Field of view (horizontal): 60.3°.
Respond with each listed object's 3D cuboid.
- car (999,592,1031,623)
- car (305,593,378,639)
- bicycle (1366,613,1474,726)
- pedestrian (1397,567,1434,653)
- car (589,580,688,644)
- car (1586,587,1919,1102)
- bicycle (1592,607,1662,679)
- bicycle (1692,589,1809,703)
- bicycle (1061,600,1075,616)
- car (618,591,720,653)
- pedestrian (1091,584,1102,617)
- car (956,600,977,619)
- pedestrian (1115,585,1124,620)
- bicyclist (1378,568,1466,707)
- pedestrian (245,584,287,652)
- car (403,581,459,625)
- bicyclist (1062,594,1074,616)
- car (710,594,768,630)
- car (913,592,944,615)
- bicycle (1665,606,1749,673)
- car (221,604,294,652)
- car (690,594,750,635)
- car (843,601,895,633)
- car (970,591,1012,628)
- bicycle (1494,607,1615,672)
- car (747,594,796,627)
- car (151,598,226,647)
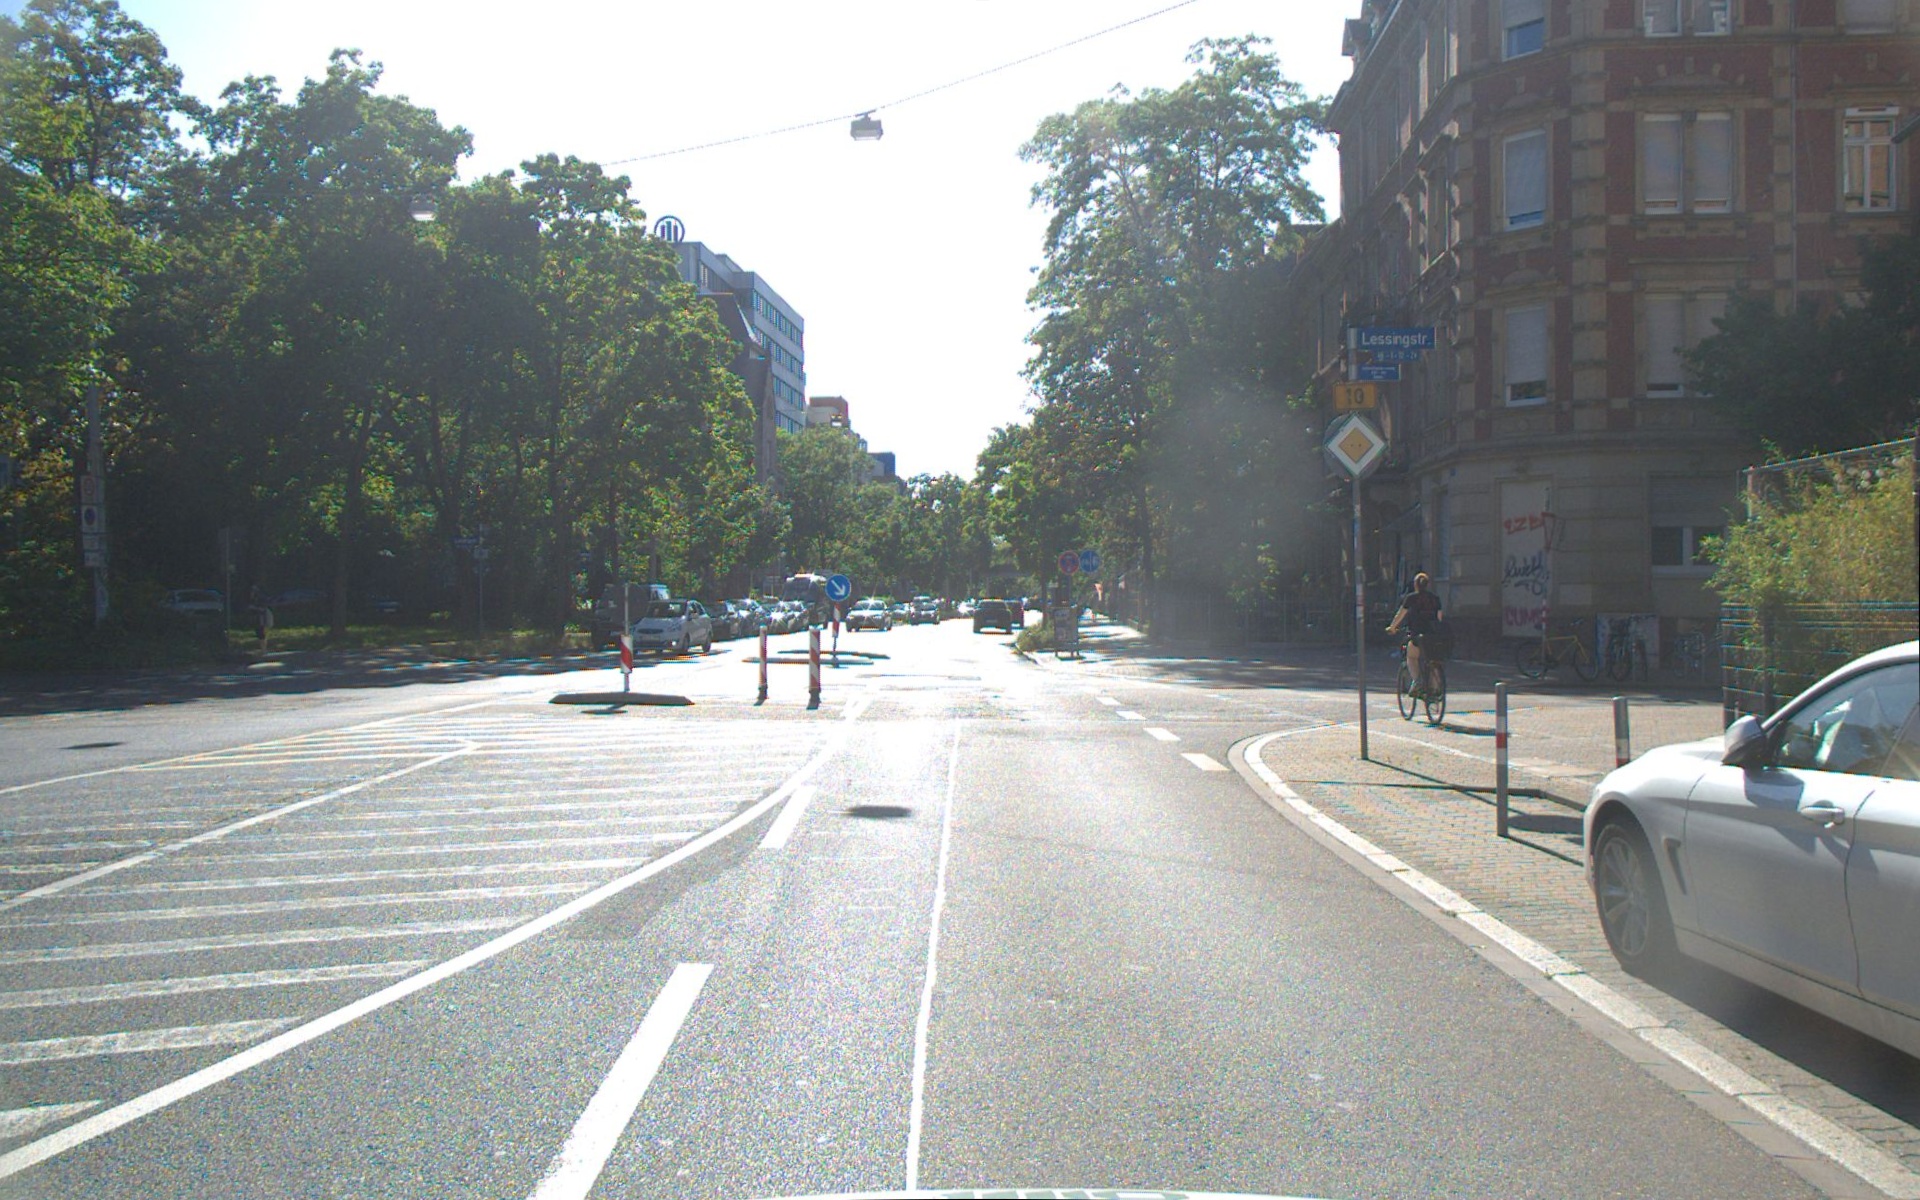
[{"bbox_3d":[3.210,0.403,96.412,1.781,1.770,4.002,0,0,3],"label":"car"},{"bbox_3d":[-23.569,0.581,62.939,1.955,1.691,3.959,-1,1,-31],"label":"car"},{"bbox_3d":[5.512,0.801,19.926,0.726,1.240,1.960,-2,0,0],"label":"bicycle"},{"bbox_3d":[9.925,0.227,36.081,0.642,1.848,0.751,1,-3,4],"label":"pedestrian"},{"bbox_3d":[-10.289,0.367,53.292,2.153,1.963,4.863,0,0,1],"label":"car"},{"bbox_3d":[3.594,0.703,5.124,1.674,1.450,4.205,-1,1,-1],"label":"car"},{"bbox_3d":[11.896,0.754,29.550,0.566,1.113,1.973,1,3,5],"label":"bicycle"},{"bbox_3d":[10.383,0.576,21.805,0.566,1.422,2.068,0,0,0],"label":"bicycle"},{"bbox_3d":[6.533,0.491,99.897,0.661,0.954,2.281,0,-1,-1],"label":"bicycle"},{"bbox_3d":[-7.983,0.576,45.652,1.721,1.545,3.862,-1,1,6],"label":"car"},{"bbox_3d":[8.540,0.014,103.214,0.602,2.049,0.681,0,0,-1],"label":"pedestrian"},{"bbox_3d":[0.586,0.902,149.649,1.895,1.546,4.029,1,-3,0],"label":"car"},{"bbox_3d":[9.584,0.151,99.627,0.466,2.049,0.492,1,-3,-1],"label":"pedestrian"},{"bbox_3d":[5.532,0.426,19.848,0.726,1.607,1.100,1,1,0],"label":"bicyclist"},{"bbox_3d":[-17.027,0.432,40.602,0.656,1.655,0.713,0,0,32],"label":"pedestrian"},{"bbox_3d":[-21.195,0.088,66.177,1.947,1.691,3.975,0,0,-21],"label":"car"},{"bbox_3d":[6.526,0.302,100.039,0.666,1.351,0.636,1,-3,-1],"label":"bicyclist"},{"bbox_3d":[-9.253,0.497,69.456,1.491,1.457,3.556,0,0,8],"label":"car"},{"bbox_3d":[-2.106,0.223,112.476,1.604,1.545,4.033,0,0,6],"label":"car"},{"bbox_3d":[13.442,0.700,29.823,0.711,1.151,2.033,0,0,3],"label":"bicycle"},{"bbox_3d":[-26.267,1.017,61.771,1.956,1.691,3.956,-1,1,-32],"label":"car"},{"bbox_3d":[-9.314,0.592,64.459,1.491,1.458,3.338,0,-3,6],"label":"car"},{"bbox_3d":[-4.322,0.821,79.002,1.746,1.486,4.418,0,-1,6],"label":"car"},{"bbox_3d":[1.425,0.418,77.971,1.856,1.545,4.000,2,1,0],"label":"car"},{"bbox_3d":[10.582,0.683,29.477,0.690,1.114,1.939,0,0,-44],"label":"bicycle"},{"bbox_3d":[-8.447,0.451,74.307,1.491,1.457,3.339,0,0,6],"label":"car"},{"bbox_3d":[-28.479,0.805,60.975,1.957,1.691,3.953,-1,1,-34],"label":"car"}]
